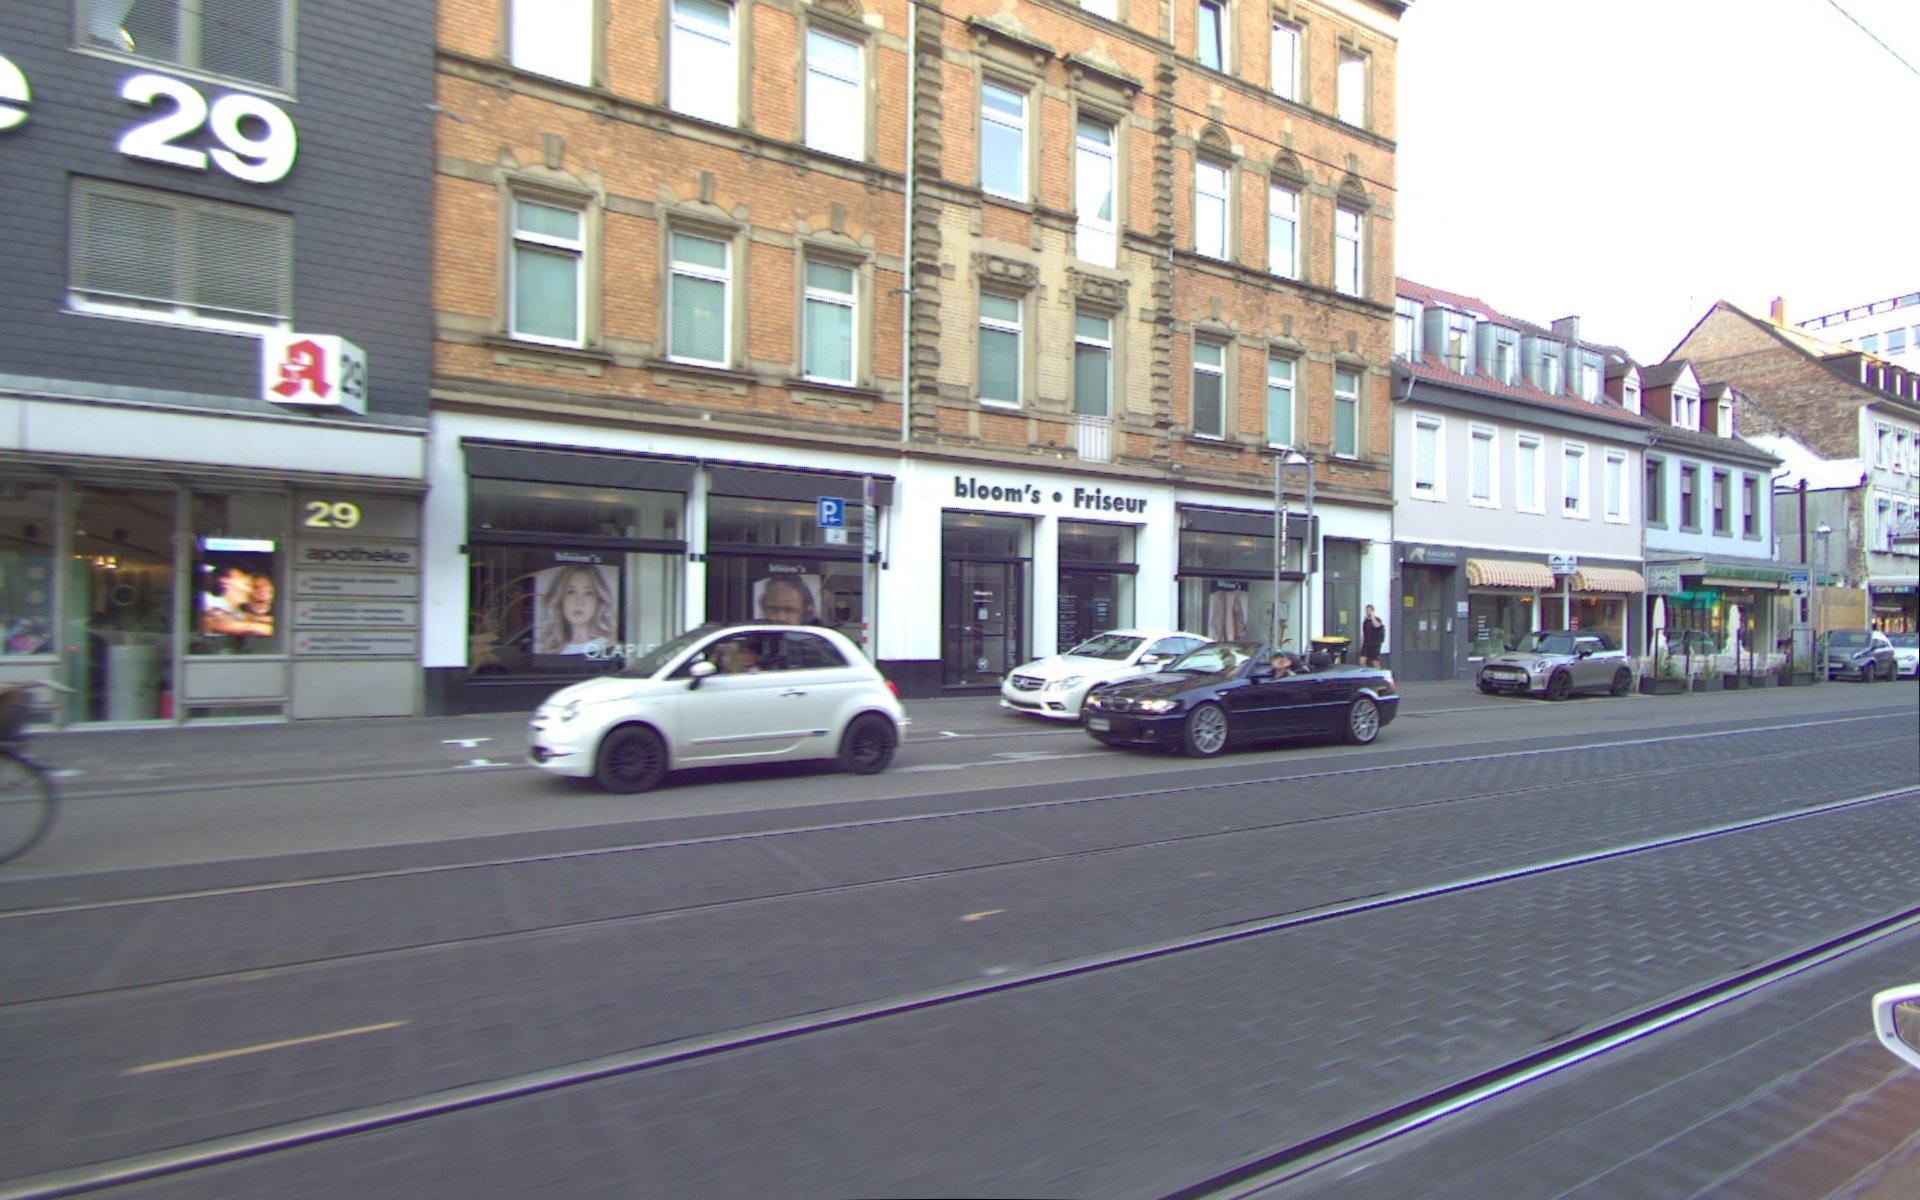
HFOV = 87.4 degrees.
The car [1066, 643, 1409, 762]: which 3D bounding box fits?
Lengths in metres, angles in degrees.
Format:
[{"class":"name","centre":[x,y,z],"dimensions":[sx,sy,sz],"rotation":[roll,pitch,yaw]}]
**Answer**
[{"class":"car","centre":[3.502,1.175,12.457],"dimensions":[4.225,1.244,1.659],"rotation":[1,-3,-31]}]

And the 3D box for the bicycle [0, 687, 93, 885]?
[{"class":"bicycle","centre":[-6.143,1.045,5.462],"dimensions":[2.059,1.047,0.689],"rotation":[1,-1,-32]}]

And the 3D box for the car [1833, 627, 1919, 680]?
[{"class":"car","centre":[30.535,1.703,32.633],"dimensions":[4.786,1.524,1.840],"rotation":[1,1,-31]}]

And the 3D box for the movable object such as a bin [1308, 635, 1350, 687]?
[{"class":"movable object such as a bin","centre":[8.344,1.360,22.719],"dimensions":[0.720,1.146,0.587],"rotation":[1,-1,-30]}]

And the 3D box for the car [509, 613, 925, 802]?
[{"class":"car","centre":[-2.328,0.945,9.819],"dimensions":[3.638,1.525,1.659],"rotation":[1,-3,-31]}]

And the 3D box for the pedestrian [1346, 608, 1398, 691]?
[{"class":"pedestrian","centre":[9.167,1.090,22.349],"dimensions":[0.845,1.796,0.645],"rotation":[1,1,-30]}]

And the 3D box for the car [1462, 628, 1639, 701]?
[{"class":"car","centre":[13.153,1.388,22.326],"dimensions":[3.819,1.408,1.725],"rotation":[1,1,-30]}]

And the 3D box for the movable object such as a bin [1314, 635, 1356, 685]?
[{"class":"movable object such as a bin","centre":[8.759,1.396,23.465],"dimensions":[0.720,1.146,0.587],"rotation":[1,-1,-30]}]

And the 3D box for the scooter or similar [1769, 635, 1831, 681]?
[{"class":"scooter or similar","centre":[24.027,1.636,28.743],"dimensions":[0.290,1.221,1.308],"rotation":[1,1,-29]}]

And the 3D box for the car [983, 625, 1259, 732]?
[{"class":"car","centre":[2.605,1.154,15.936],"dimensions":[4.227,1.408,1.749],"rotation":[1,1,-33]}]

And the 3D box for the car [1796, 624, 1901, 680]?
[{"class":"car","centre":[26.758,1.535,30.243],"dimensions":[2.781,1.525,1.583],"rotation":[1,1,-32]}]
